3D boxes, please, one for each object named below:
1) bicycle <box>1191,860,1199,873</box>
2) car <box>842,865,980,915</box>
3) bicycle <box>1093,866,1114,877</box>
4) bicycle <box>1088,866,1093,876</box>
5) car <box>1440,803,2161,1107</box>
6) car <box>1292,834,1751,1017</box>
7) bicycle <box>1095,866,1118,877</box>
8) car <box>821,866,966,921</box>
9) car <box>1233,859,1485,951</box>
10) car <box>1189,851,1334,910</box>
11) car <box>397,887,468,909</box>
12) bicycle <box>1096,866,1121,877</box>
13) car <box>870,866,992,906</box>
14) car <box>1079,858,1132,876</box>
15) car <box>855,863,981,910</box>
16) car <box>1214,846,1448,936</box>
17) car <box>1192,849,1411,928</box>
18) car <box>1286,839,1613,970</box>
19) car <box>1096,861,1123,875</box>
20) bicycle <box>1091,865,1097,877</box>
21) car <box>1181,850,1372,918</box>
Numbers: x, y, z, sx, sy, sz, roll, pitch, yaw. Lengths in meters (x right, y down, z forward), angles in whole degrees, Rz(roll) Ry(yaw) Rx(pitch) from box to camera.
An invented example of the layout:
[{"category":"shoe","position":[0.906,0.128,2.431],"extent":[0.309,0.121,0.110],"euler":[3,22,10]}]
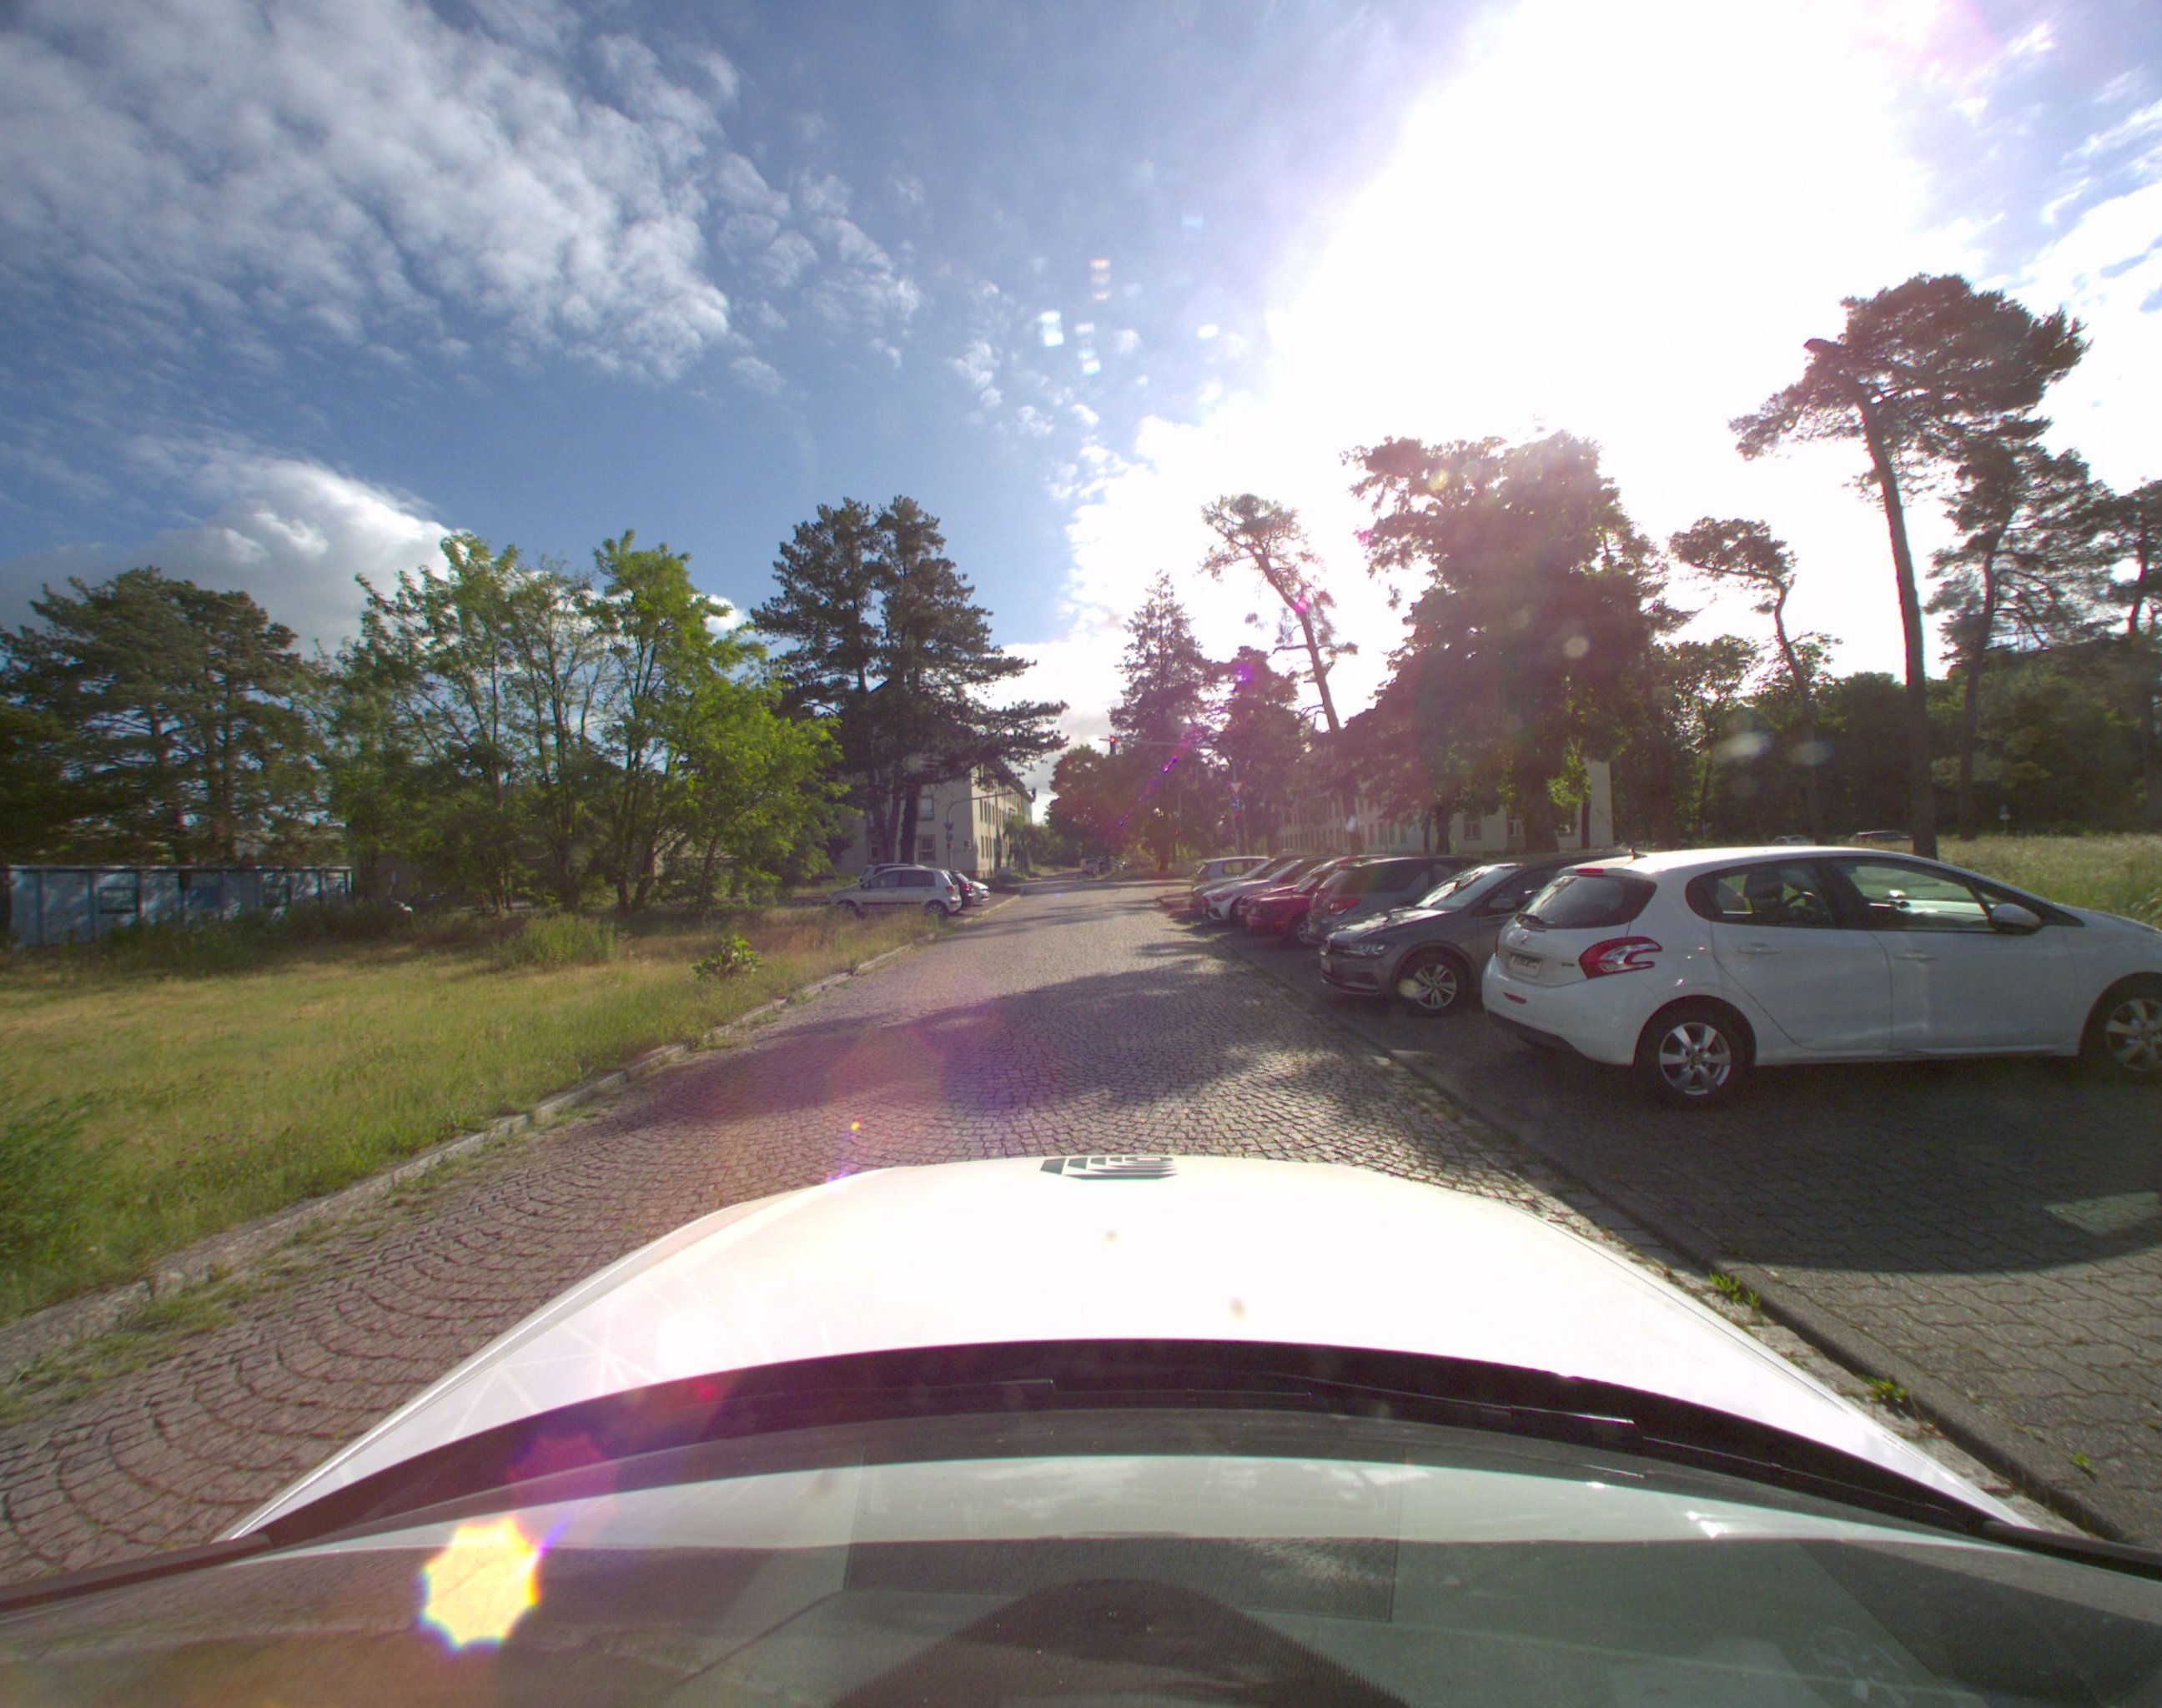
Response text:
[{"category":"bicycle","position":[8.476,0.944,60.696],"extent":[0.300,0.961,1.584],"euler":[0,-1,-2]},{"category":"car","position":[-5.283,1.098,25.704],"extent":[3.977,1.480,1.802],"euler":[0,0,-3]},{"category":"bicycle","position":[2.113,1.627,76.306],"extent":[1.836,1.010,0.634],"euler":[0,-1,-7]},{"category":"bicycle","position":[0.952,1.713,82.501],"extent":[0.416,1.010,1.484],"euler":[0,-1,2]},{"category":"car","position":[4.727,0.578,5.577],"extent":[3.694,1.534,1.761],"euler":[-4,0,1]},{"category":"car","position":[4.298,0.662,8.446],"extent":[3.694,1.449,1.857],"euler":[-4,0,1]},{"category":"bicycle","position":[2.333,1.592,74.549],"extent":[2.002,1.010,0.630],"euler":[0,-1,-7]},{"category":"car","position":[-5.233,1.094,23.106],"extent":[3.737,1.487,1.644],"euler":[0,0,-3]},{"category":"car","position":[4.636,0.825,13.968],"extent":[3.694,1.223,1.747],"euler":[-4,0,1]},{"category":"car","position":[5.225,0.746,23.944],"extent":[3.868,1.415,1.637],"euler":[-4,0,1]},{"category":"car","position":[-47.389,3.207,59.616],"extent":[1.895,1.433,4.001],"euler":[-2,-1,2]},{"category":"bicycle","position":[2.468,1.558,72.835],"extent":[2.107,1.010,0.619],"euler":[0,-1,-7]},{"category":"car","position":[-5.639,1.193,31.053],"extent":[4.322,1.468,1.829],"euler":[0,0,-3]},{"category":"car","position":[2.719,1.485,90.951],"extent":[5.535,2.014,1.988],"euler":[0,-1,-17]},{"category":"car","position":[-5.660,1.113,28.669],"extent":[4.070,1.593,1.884],"euler":[0,0,-2]},{"category":"car","position":[4.873,0.706,16.251],"extent":[4.113,1.449,1.637],"euler":[-4,0,1]},{"category":"car","position":[4.872,0.748,18.450],"extent":[4.416,1.415,1.781],"euler":[-4,0,1]},{"category":"car","position":[4.957,0.648,11.366],"extent":[3.694,1.449,1.816],"euler":[-4,0,0]},{"category":"car","position":[3.051,1.492,87.310],"extent":[2.776,1.467,1.669],"euler":[0,-1,-4]},{"category":"bicycle","position":[1.107,1.433,69.286],"extent":[0.466,1.010,1.584],"euler":[0,-1,-2]},{"category":"car","position":[4.984,0.757,21.166],"extent":[4.543,1.415,1.637],"euler":[-4,0,1]}]
